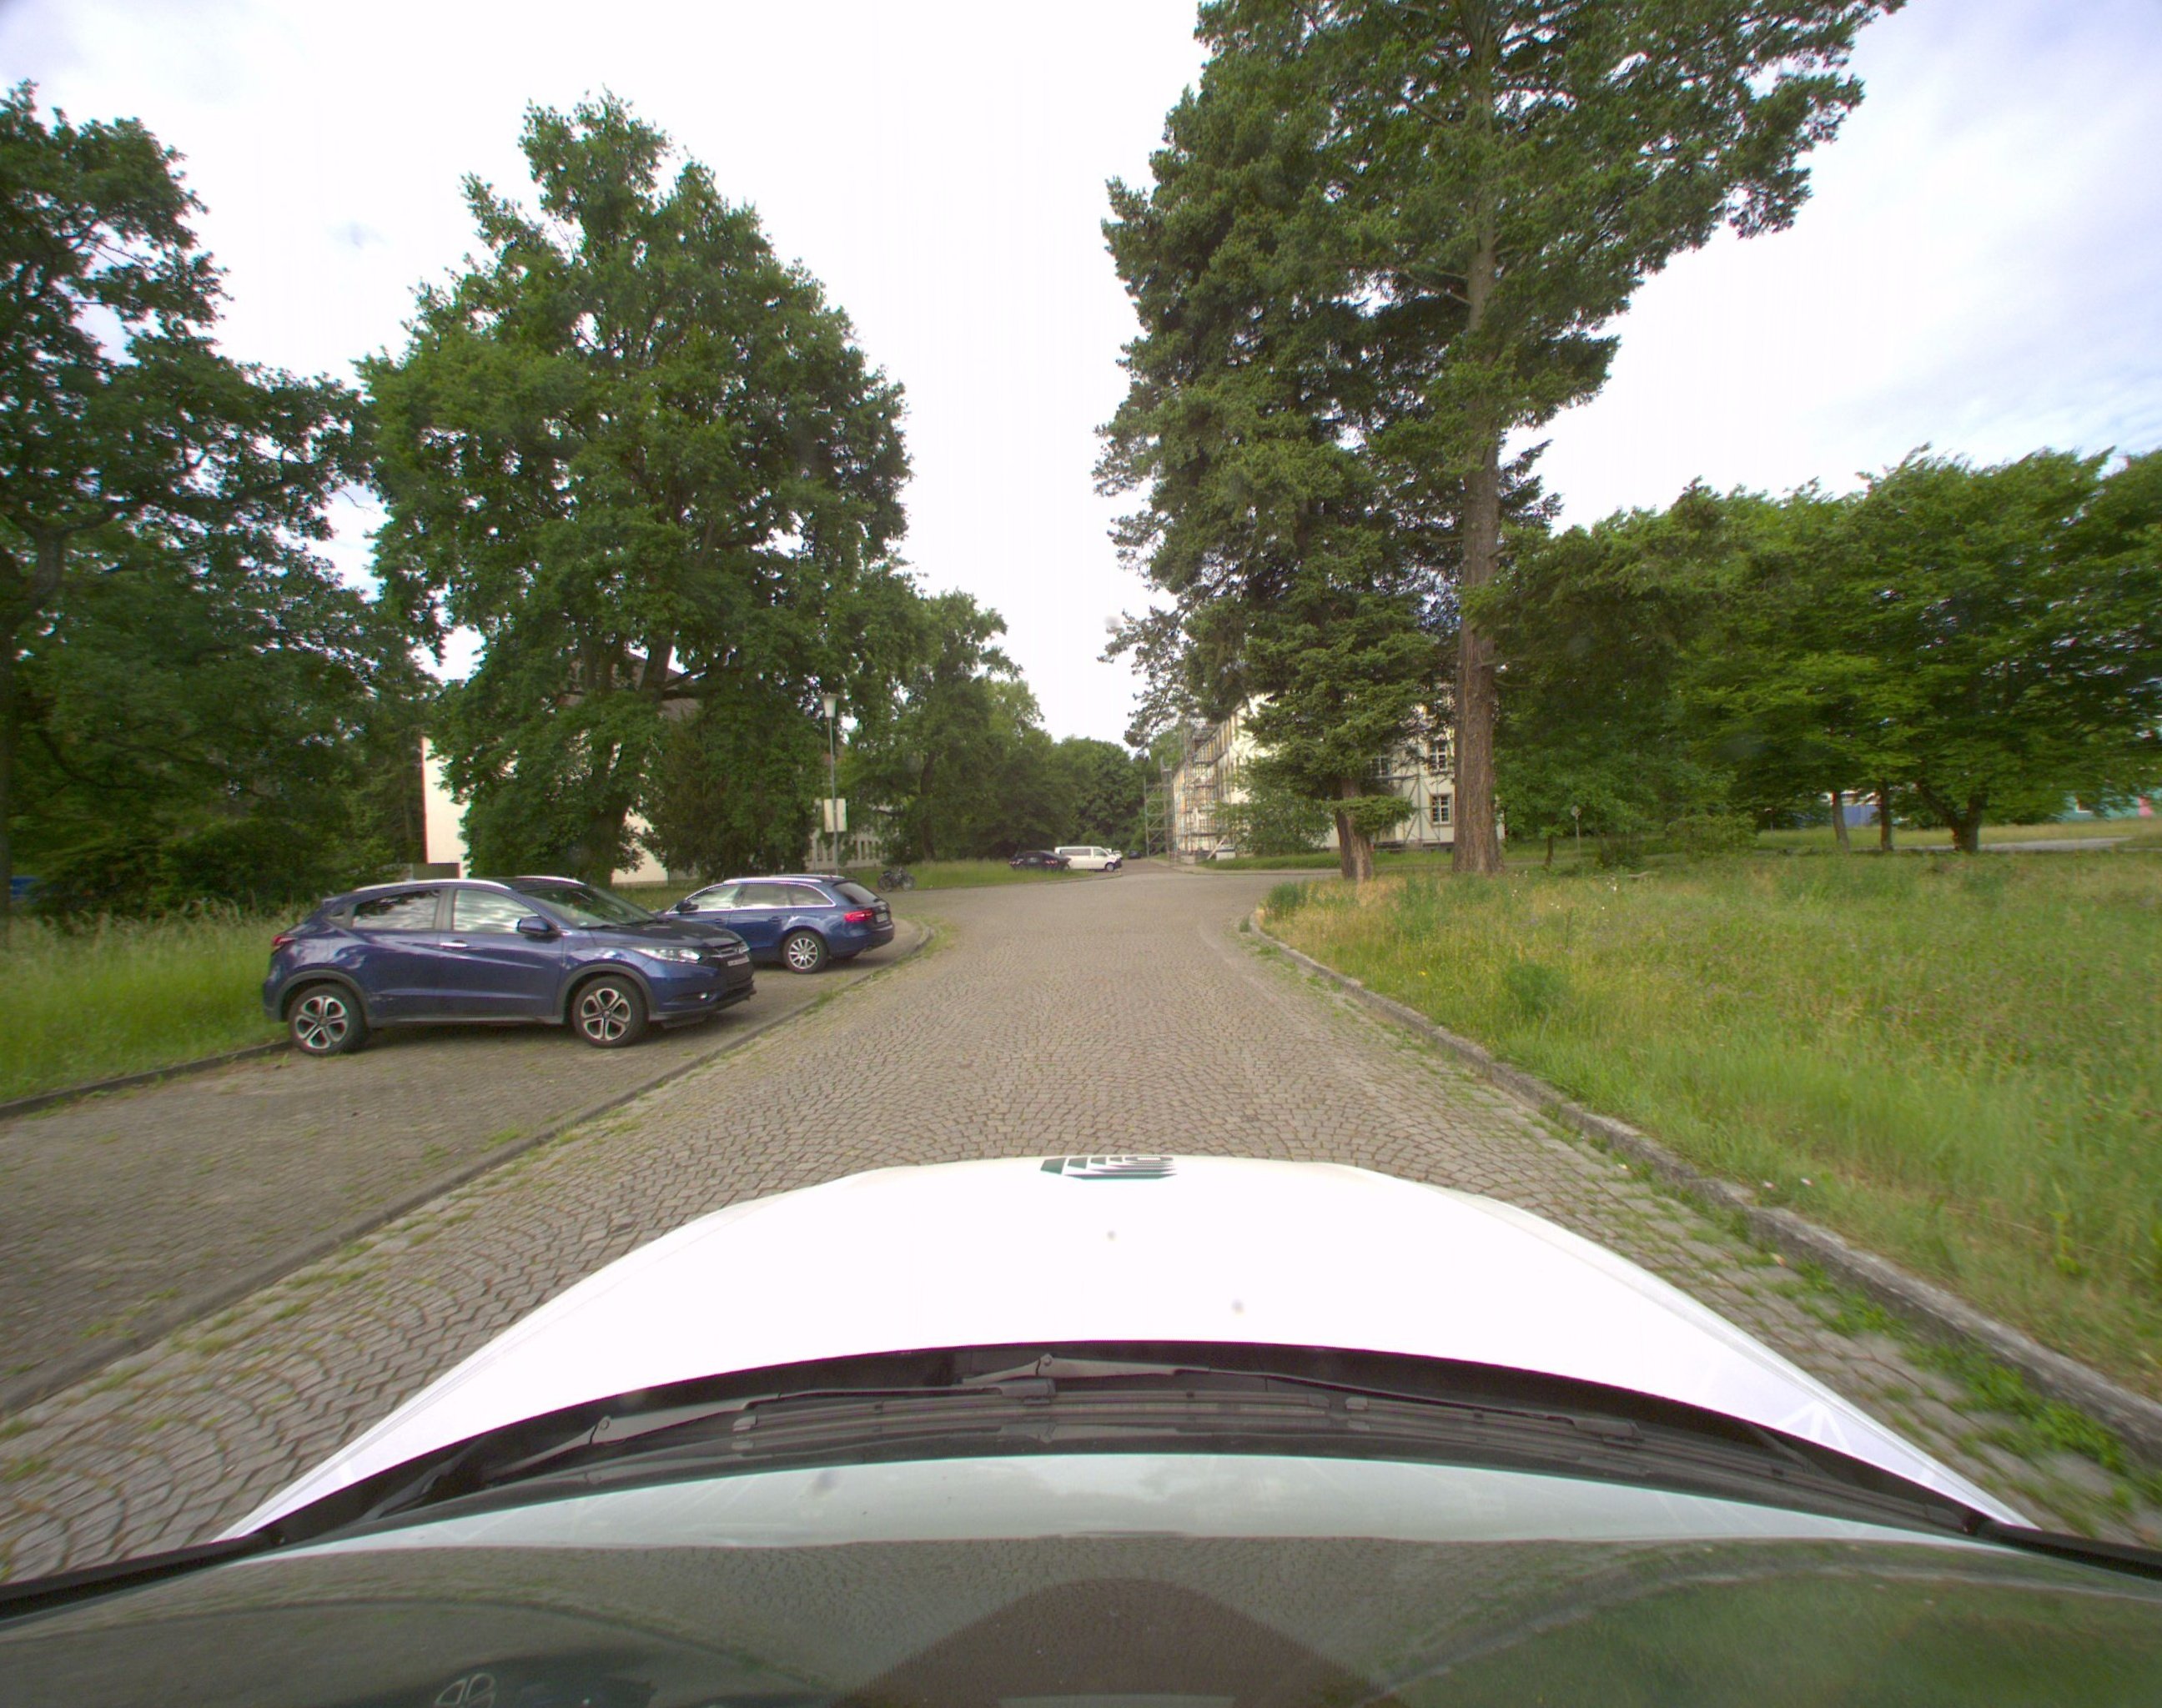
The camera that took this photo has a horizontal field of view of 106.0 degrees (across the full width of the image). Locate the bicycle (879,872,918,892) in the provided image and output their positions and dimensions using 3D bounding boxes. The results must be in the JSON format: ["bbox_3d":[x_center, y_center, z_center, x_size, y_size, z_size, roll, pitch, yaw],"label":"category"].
[{"bbox_3d":[-9.811,1.503,43.819,1.965,0.989,0.622,-3,0,-21],"label":"bicycle"}]

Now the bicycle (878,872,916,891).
[{"bbox_3d":[-10.402,1.553,46.021,1.965,0.989,0.622,-3,0,-21],"label":"bicycle"}]

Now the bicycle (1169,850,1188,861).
[{"bbox_3d":[11.846,0.138,99.346,2.230,1.254,0.699,-3,0,4],"label":"bicycle"}]

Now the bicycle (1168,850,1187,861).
[{"bbox_3d":[11.886,0.142,100.190,2.230,1.254,0.635,-3,0,4],"label":"bicycle"}]

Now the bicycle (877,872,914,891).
[{"bbox_3d":[-10.871,1.592,47.731,1.965,0.989,0.622,-3,0,-21],"label":"bicycle"}]

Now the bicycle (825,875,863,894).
[{"bbox_3d":[-13.522,1.727,46.522,1.957,0.989,0.625,-3,0,-9],"label":"bicycle"}]

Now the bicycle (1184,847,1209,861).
[{"bbox_3d":[10.557,0.002,74.394,2.230,1.254,0.778,-3,0,4],"label":"bicycle"}]

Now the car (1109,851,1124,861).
[{"bbox_3d":[5.519,0.315,127.613,2.111,1.521,4.001,-3,0,1],"label":"car"}]

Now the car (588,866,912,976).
[{"bbox_3d":[-5.102,1.009,12.984,4.284,1.461,1.977,-2,0,3],"label":"car"}]

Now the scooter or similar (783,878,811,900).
[{"bbox_3d":[-14.328,1.769,41.141,1.337,1.038,0.456,-3,0,23],"label":"scooter or similar"}]

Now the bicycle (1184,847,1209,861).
[{"bbox_3d":[10.843,0.002,76.300,2.230,1.254,0.778,-3,0,4],"label":"bicycle"}]

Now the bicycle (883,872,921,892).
[{"bbox_3d":[-9.830,1.511,44.696,1.965,0.989,0.622,-3,0,-21],"label":"bicycle"}]

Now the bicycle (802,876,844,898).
[{"bbox_3d":[-13.291,1.678,41.958,1.967,0.989,0.622,-3,0,-25],"label":"bicycle"}]

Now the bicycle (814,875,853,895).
[{"bbox_3d":[-13.844,1.738,45.522,1.957,0.989,0.625,-3,0,-9],"label":"bicycle"}]

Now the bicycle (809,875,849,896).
[{"bbox_3d":[-13.666,1.716,44.168,1.967,0.989,0.622,-3,0,-25],"label":"bicycle"}]

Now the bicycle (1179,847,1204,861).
[{"bbox_3d":[10.672,0.031,78.651,2.230,1.254,0.778,-3,0,4],"label":"bicycle"}]

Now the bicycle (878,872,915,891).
[{"bbox_3d":[-10.695,1.578,47.156,1.965,0.989,0.622,-3,0,-21],"label":"bicycle"}]

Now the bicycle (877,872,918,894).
[{"bbox_3d":[-9.372,1.460,41.583,1.963,0.989,0.623,-3,0,-19],"label":"bicycle"}]

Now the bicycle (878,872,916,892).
[{"bbox_3d":[-10.247,1.540,45.434,1.965,0.989,0.622,-3,0,-21],"label":"bicycle"}]

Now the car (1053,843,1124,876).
[{"bbox_3d":[0.581,0.403,61.694,5.218,2.168,1.999,-3,0,-1],"label":"car"}]

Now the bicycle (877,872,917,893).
[{"bbox_3d":[-9.738,1.494,43.190,1.965,0.989,0.622,-3,0,-21],"label":"bicycle"}]

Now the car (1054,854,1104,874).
[{"bbox_3d":[-0.160,0.751,64.309,3.778,1.395,1.999,-3,0,-1],"label":"car"}]

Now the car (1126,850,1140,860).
[{"bbox_3d":[8.195,0.170,127.837,1.944,1.521,4.000,-3,0,1],"label":"car"}]

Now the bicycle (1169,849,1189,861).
[{"bbox_3d":[11.776,0.132,98.039,2.230,1.254,0.627,-3,0,4],"label":"bicycle"}]

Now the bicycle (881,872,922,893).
[{"bbox_3d":[-9.322,1.463,42.206,1.965,0.989,0.622,-3,0,-21],"label":"bicycle"}]

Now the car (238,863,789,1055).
[{"bbox_3d":[-5.451,0.955,8.280,4.214,1.577,1.887,-2,0,0],"label":"car"}]

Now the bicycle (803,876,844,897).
[{"bbox_3d":[-13.401,1.688,42.451,1.965,0.989,0.622,-3,0,-21],"label":"bicycle"}]
